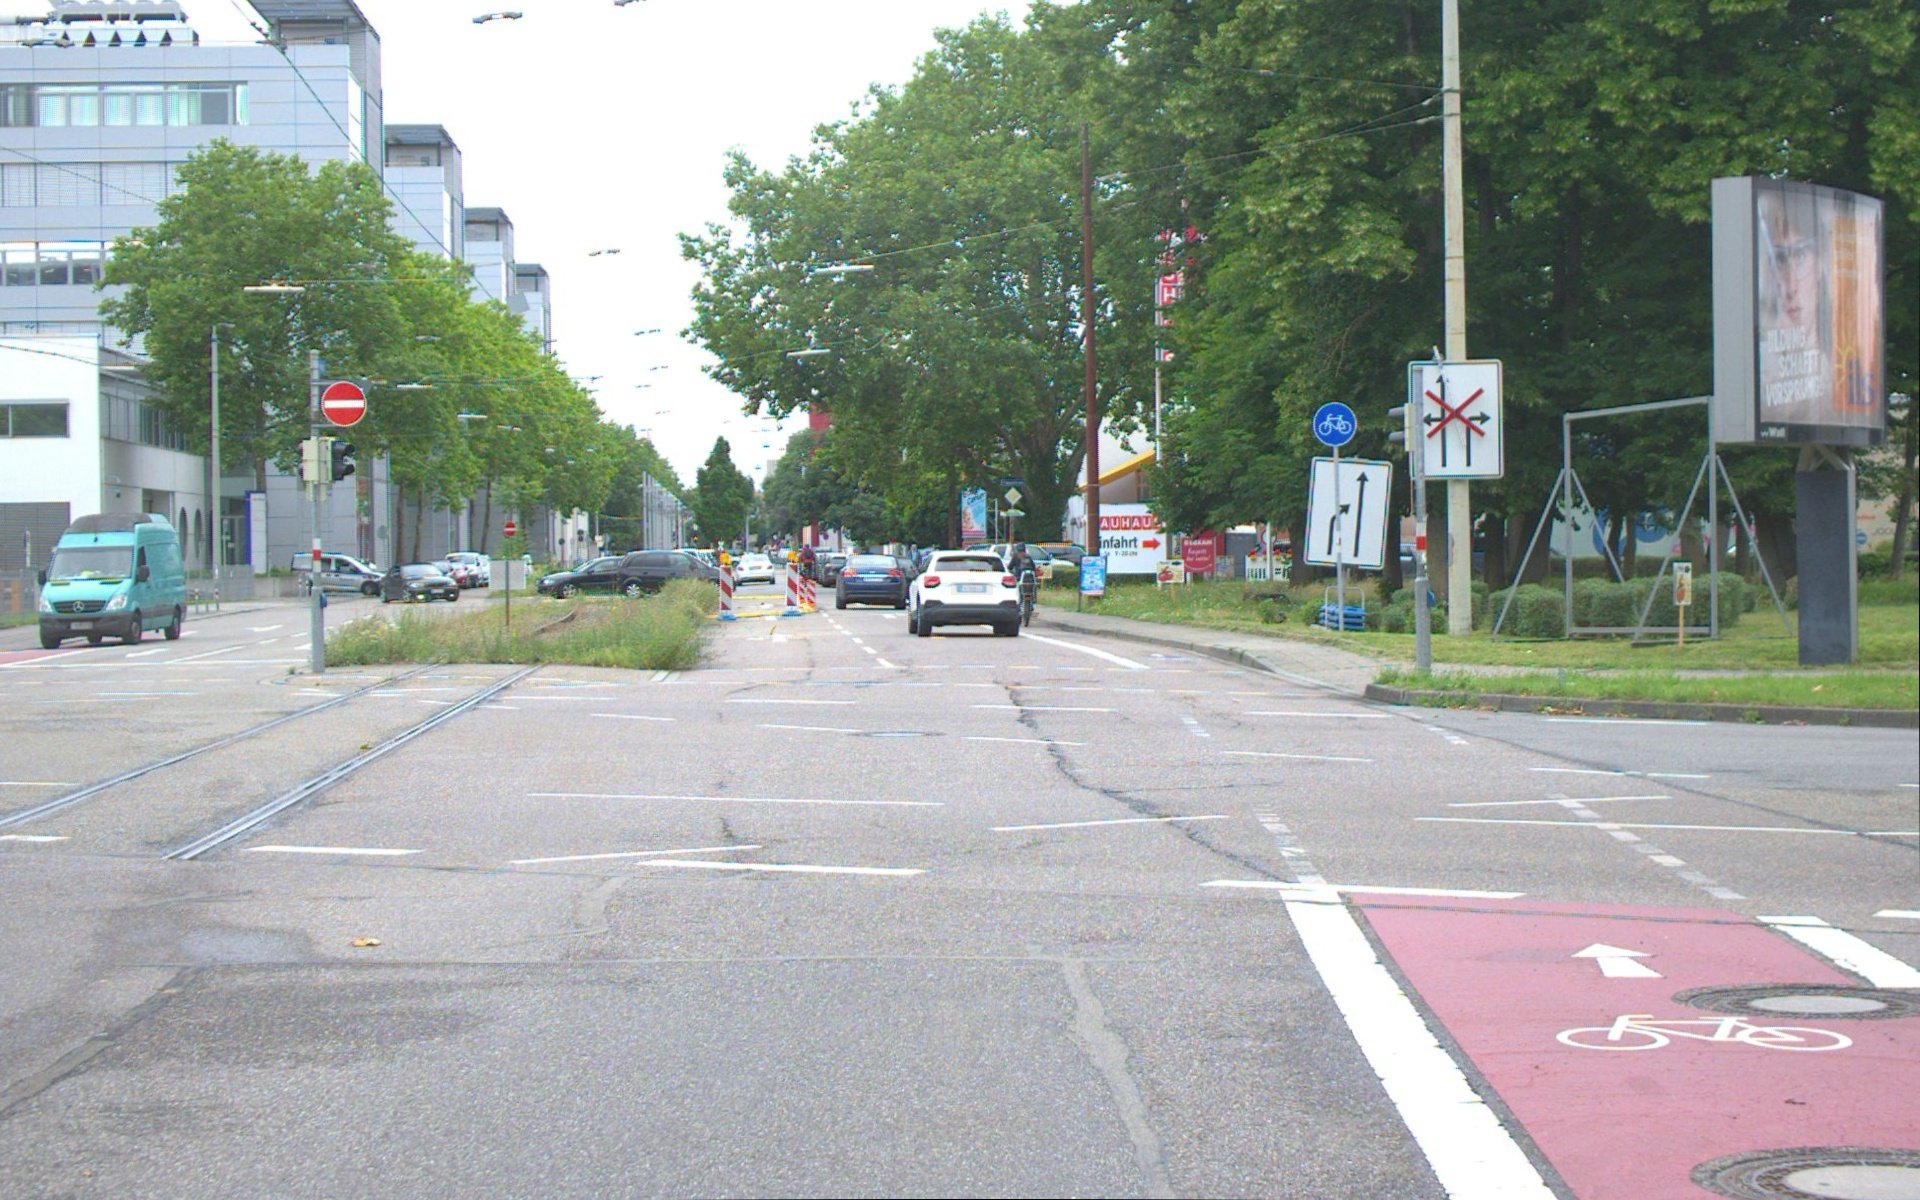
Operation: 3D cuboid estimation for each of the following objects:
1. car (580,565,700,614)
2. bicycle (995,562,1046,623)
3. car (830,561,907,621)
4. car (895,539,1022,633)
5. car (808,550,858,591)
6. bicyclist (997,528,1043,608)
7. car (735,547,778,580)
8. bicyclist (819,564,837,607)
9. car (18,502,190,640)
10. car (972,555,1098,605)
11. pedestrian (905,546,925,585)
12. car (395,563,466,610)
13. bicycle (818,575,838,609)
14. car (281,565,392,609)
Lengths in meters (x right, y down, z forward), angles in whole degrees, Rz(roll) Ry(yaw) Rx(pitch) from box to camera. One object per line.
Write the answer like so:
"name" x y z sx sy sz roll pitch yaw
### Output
"car" -10.632 -0.337 114.370 3.882 1.550 1.826 1 0 -4
"bicycle" 1.243 -0.168 70.921 0.816 1.208 2.683 -1 1 -4
"car" -2.411 -0.248 89.720 1.684 1.508 3.707 0 1 -7
"car" -0.061 -0.267 61.050 1.823 1.595 3.777 0 1 -7
"car" -5.333 -1.245 144.307 1.876 1.627 4.001 -1 1 -5
"bicyclist" 1.231 -0.660 70.913 0.816 1.624 1.235 -1 1 -4
"car" -9.572 -1.708 161.335 1.795 1.508 3.707 0 1 -7
"bicyclist" -5.559 -0.608 144.493 0.670 1.809 0.760 0 1 -6
"car" -18.325 -0.631 73.881 2.328 2.816 5.949 -1 1 -2
"car" 2.659 -0.707 122.268 4.313 1.671 1.993 -1 1 -3
"pedestrian" -1.968 -1.514 150.954 0.760 1.699 0.682 -1 1 -8
"car" -17.904 -0.442 116.455 1.819 1.470 4.130 -2 -1 -1
"bicycle" -5.557 -0.334 144.374 0.670 1.389 2.167 0 1 -7
"car" -26.344 -0.565 145.366 4.411 1.777 1.826 -1 1 -5
